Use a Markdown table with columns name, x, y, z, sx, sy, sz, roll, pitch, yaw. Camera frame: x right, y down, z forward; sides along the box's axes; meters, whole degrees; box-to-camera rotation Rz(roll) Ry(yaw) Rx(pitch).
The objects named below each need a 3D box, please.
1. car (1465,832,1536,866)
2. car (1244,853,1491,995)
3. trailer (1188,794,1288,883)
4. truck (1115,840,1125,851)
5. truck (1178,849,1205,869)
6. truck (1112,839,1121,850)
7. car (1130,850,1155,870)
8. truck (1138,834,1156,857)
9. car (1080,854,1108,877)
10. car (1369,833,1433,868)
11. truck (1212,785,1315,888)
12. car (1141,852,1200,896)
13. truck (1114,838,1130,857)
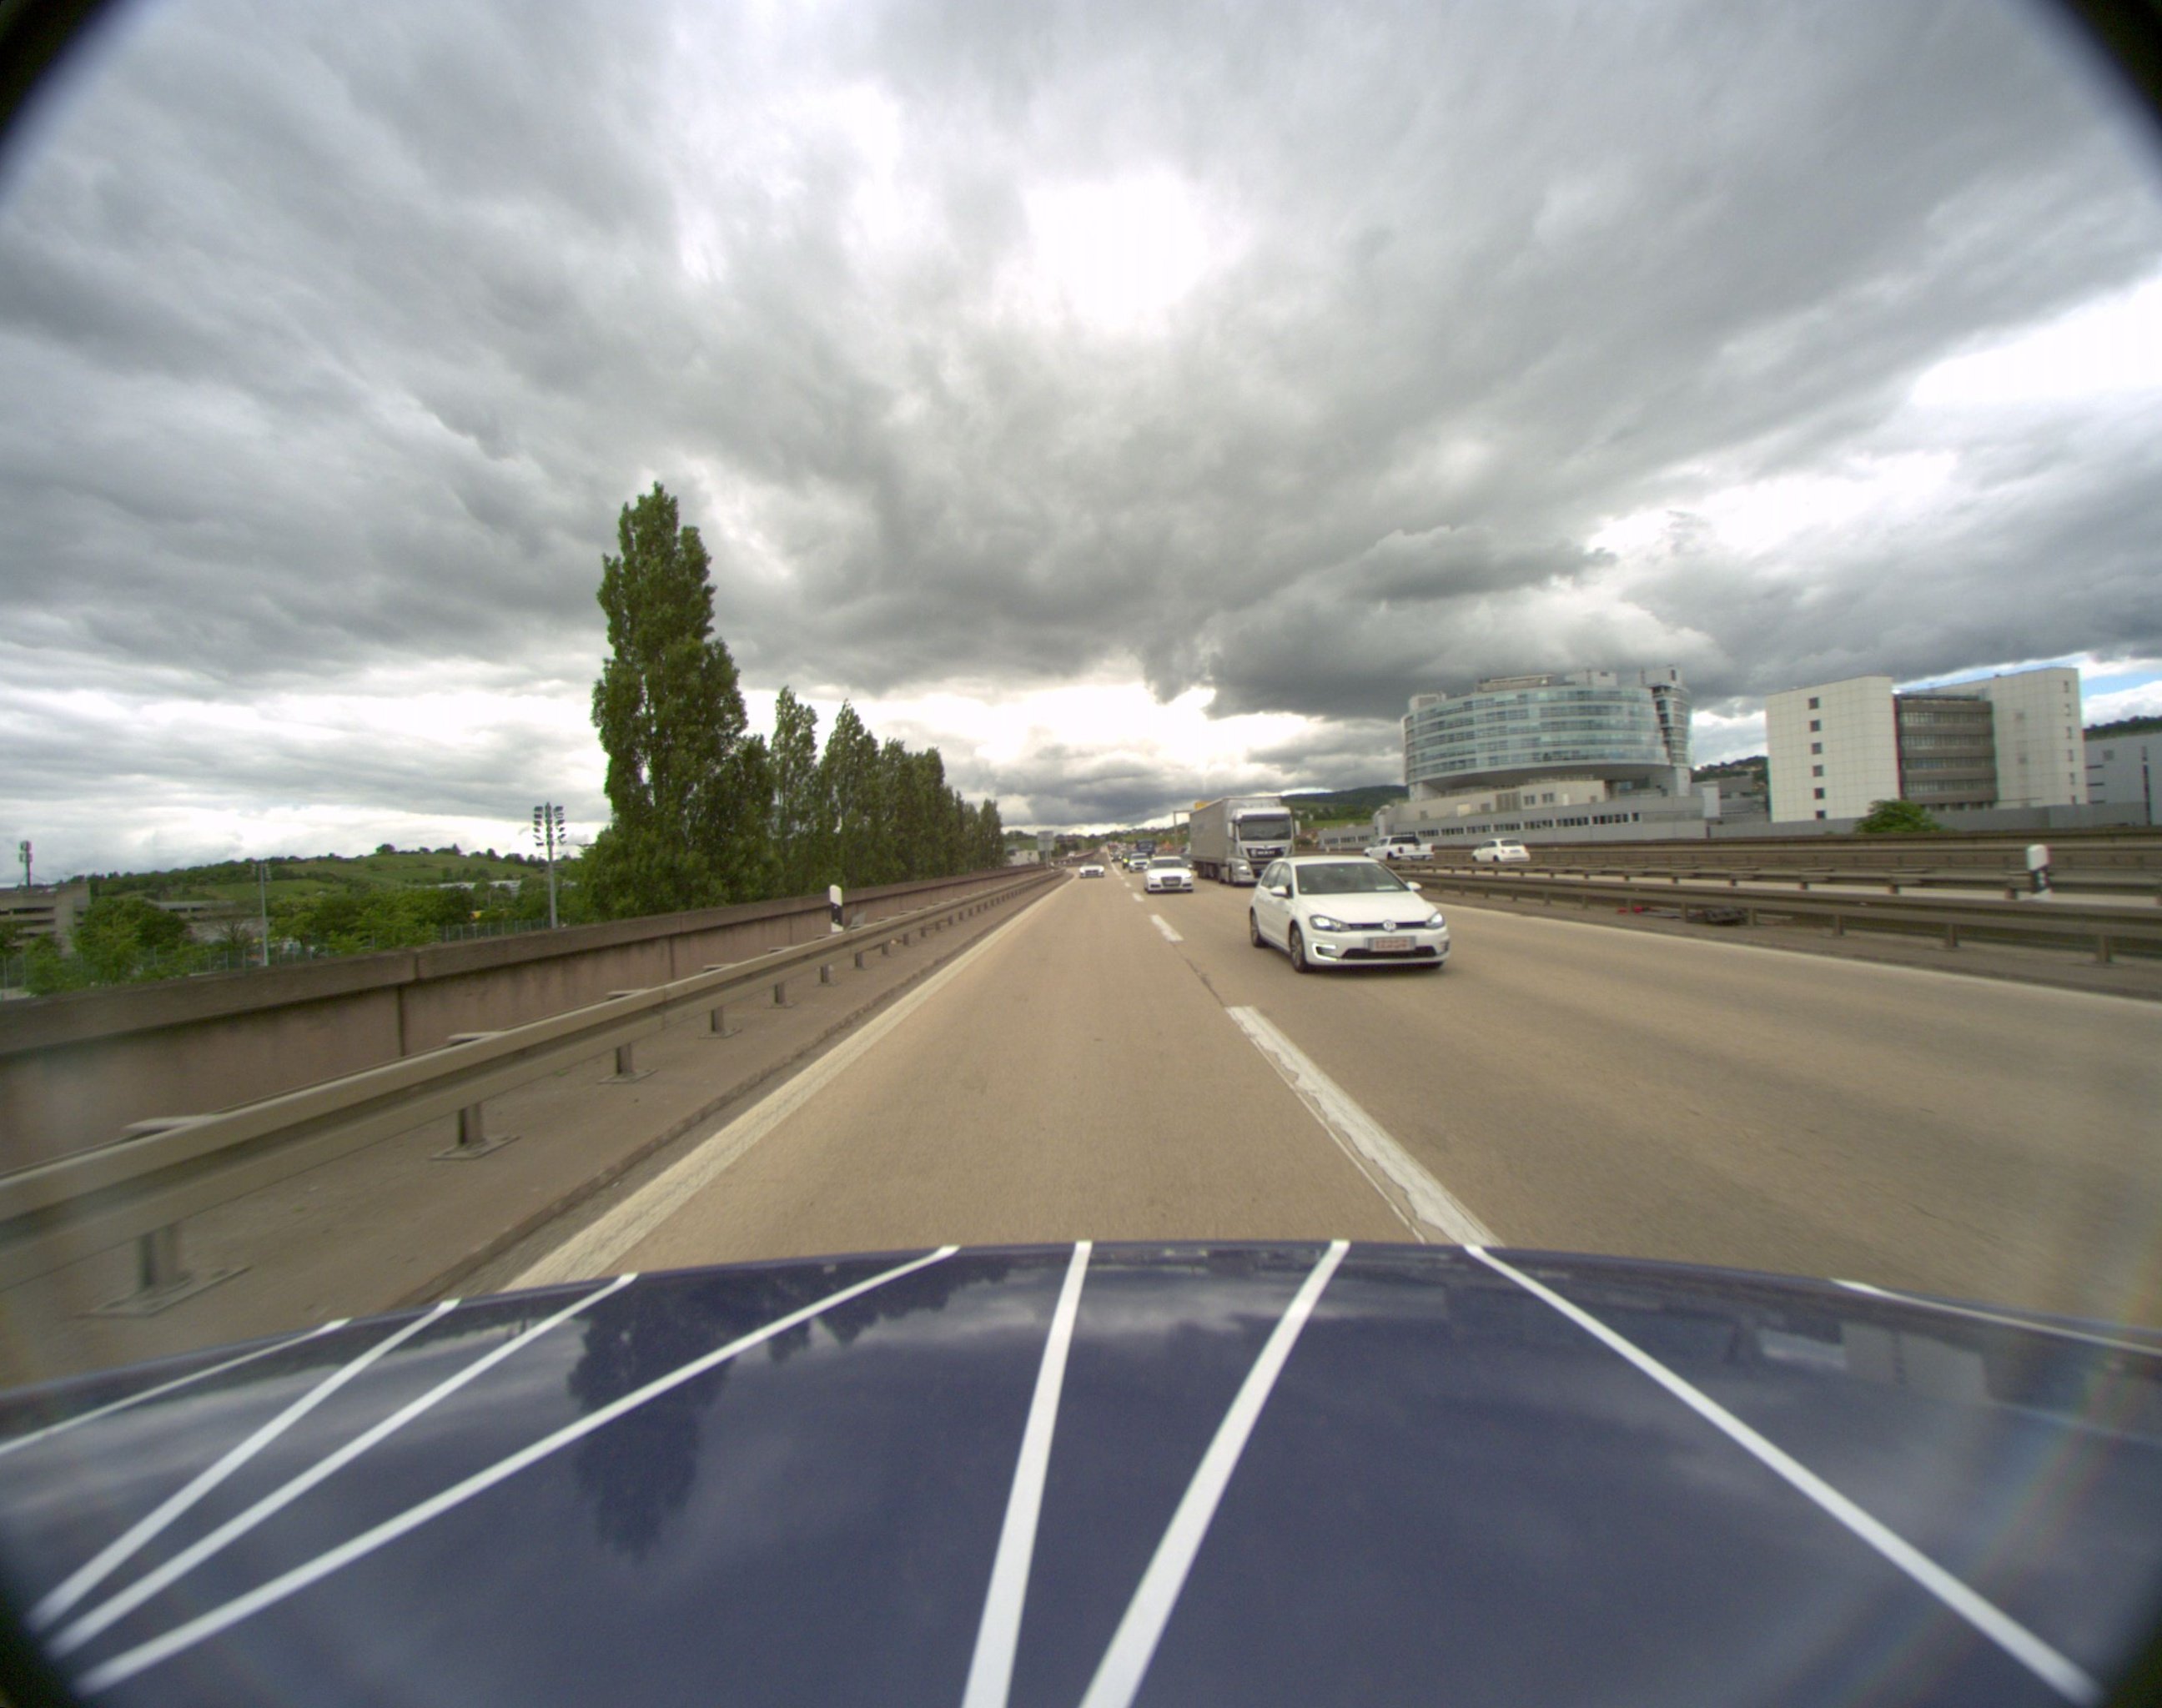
| name | x | y | z | sx | sy | sz | roll | pitch | yaw |
| --- | --- | --- | --- | --- | --- | --- | --- | --- | --- |
| car | 22.379 | -0.272 | 40.667 | 1.687 | 1.641 | 3.775 | -3 | 0 | 1 |
| car | 3.630 | 0.782 | 10.512 | 1.930 | 1.499 | 4.061 | -2 | 0 | 1 |
| trailer | 8.240 | -0.753 | 41.651 | 3.189 | 4.003 | 11.766 | -4 | 0 | 2 |
| truck | 11.009 | -2.409 | 215.725 | 2.626 | 3.219 | 6.686 | -2 | 1 | 2 |
| truck | 9.439 | 0.401 | 64.921 | 1.829 | 1.521 | 3.513 | -2 | 1 | 1 |
| truck | 11.298 | -3.015 | 241.043 | 2.626 | 3.219 | 6.686 | -2 | 1 | 2 |
| car | 5.400 | 0.526 | 67.130 | 1.930 | 1.585 | 4.061 | -3 | 0 | 1 |
| truck | 9.977 | -1.264 | 115.298 | 2.336 | 3.219 | 6.686 | -2 | 1 | 2 |
| car | 1.007 | 0.824 | 57.090 | 1.930 | 1.499 | 4.061 | -3 | 0 | 1 |
| car | 16.978 | -0.189 | 40.466 | 1.791 | 1.710 | 3.775 | -3 | 0 | 1 |
| truck | 7.952 | -0.724 | 33.869 | 3.142 | 4.014 | 5.688 | -4 | 1 | 2 |
| car | 3.534 | 0.754 | 30.745 | 1.930 | 1.499 | 4.061 | -3 | 0 | 1 |
| truck | 7.275 | -1.243 | 136.731 | 2.626 | 3.219 | 6.686 | -2 | 1 | 2 |
